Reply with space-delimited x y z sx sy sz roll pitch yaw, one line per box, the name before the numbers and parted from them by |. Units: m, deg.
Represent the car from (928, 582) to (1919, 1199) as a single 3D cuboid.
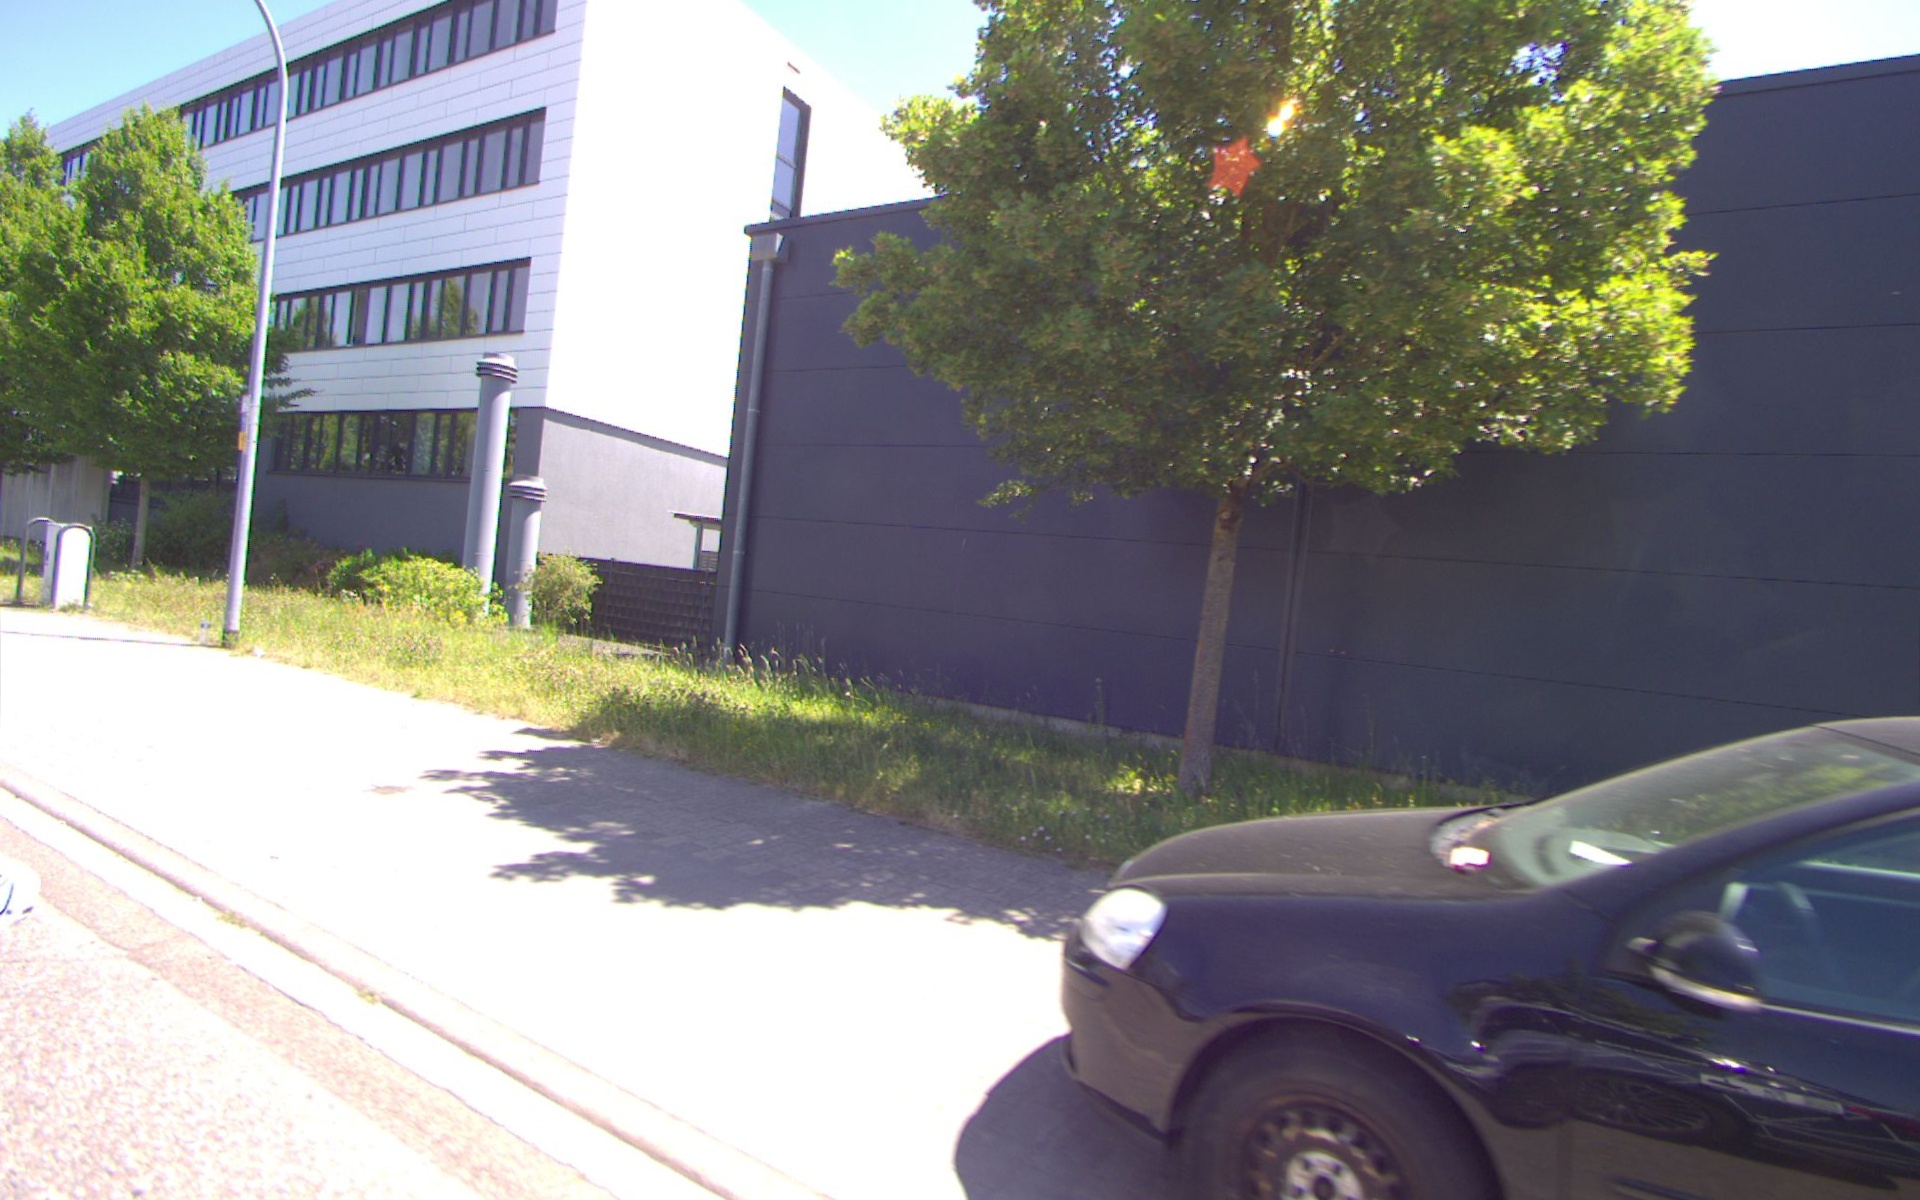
car | 2.200 0.931 2.257 4.197 1.495 1.693 6 1 31
